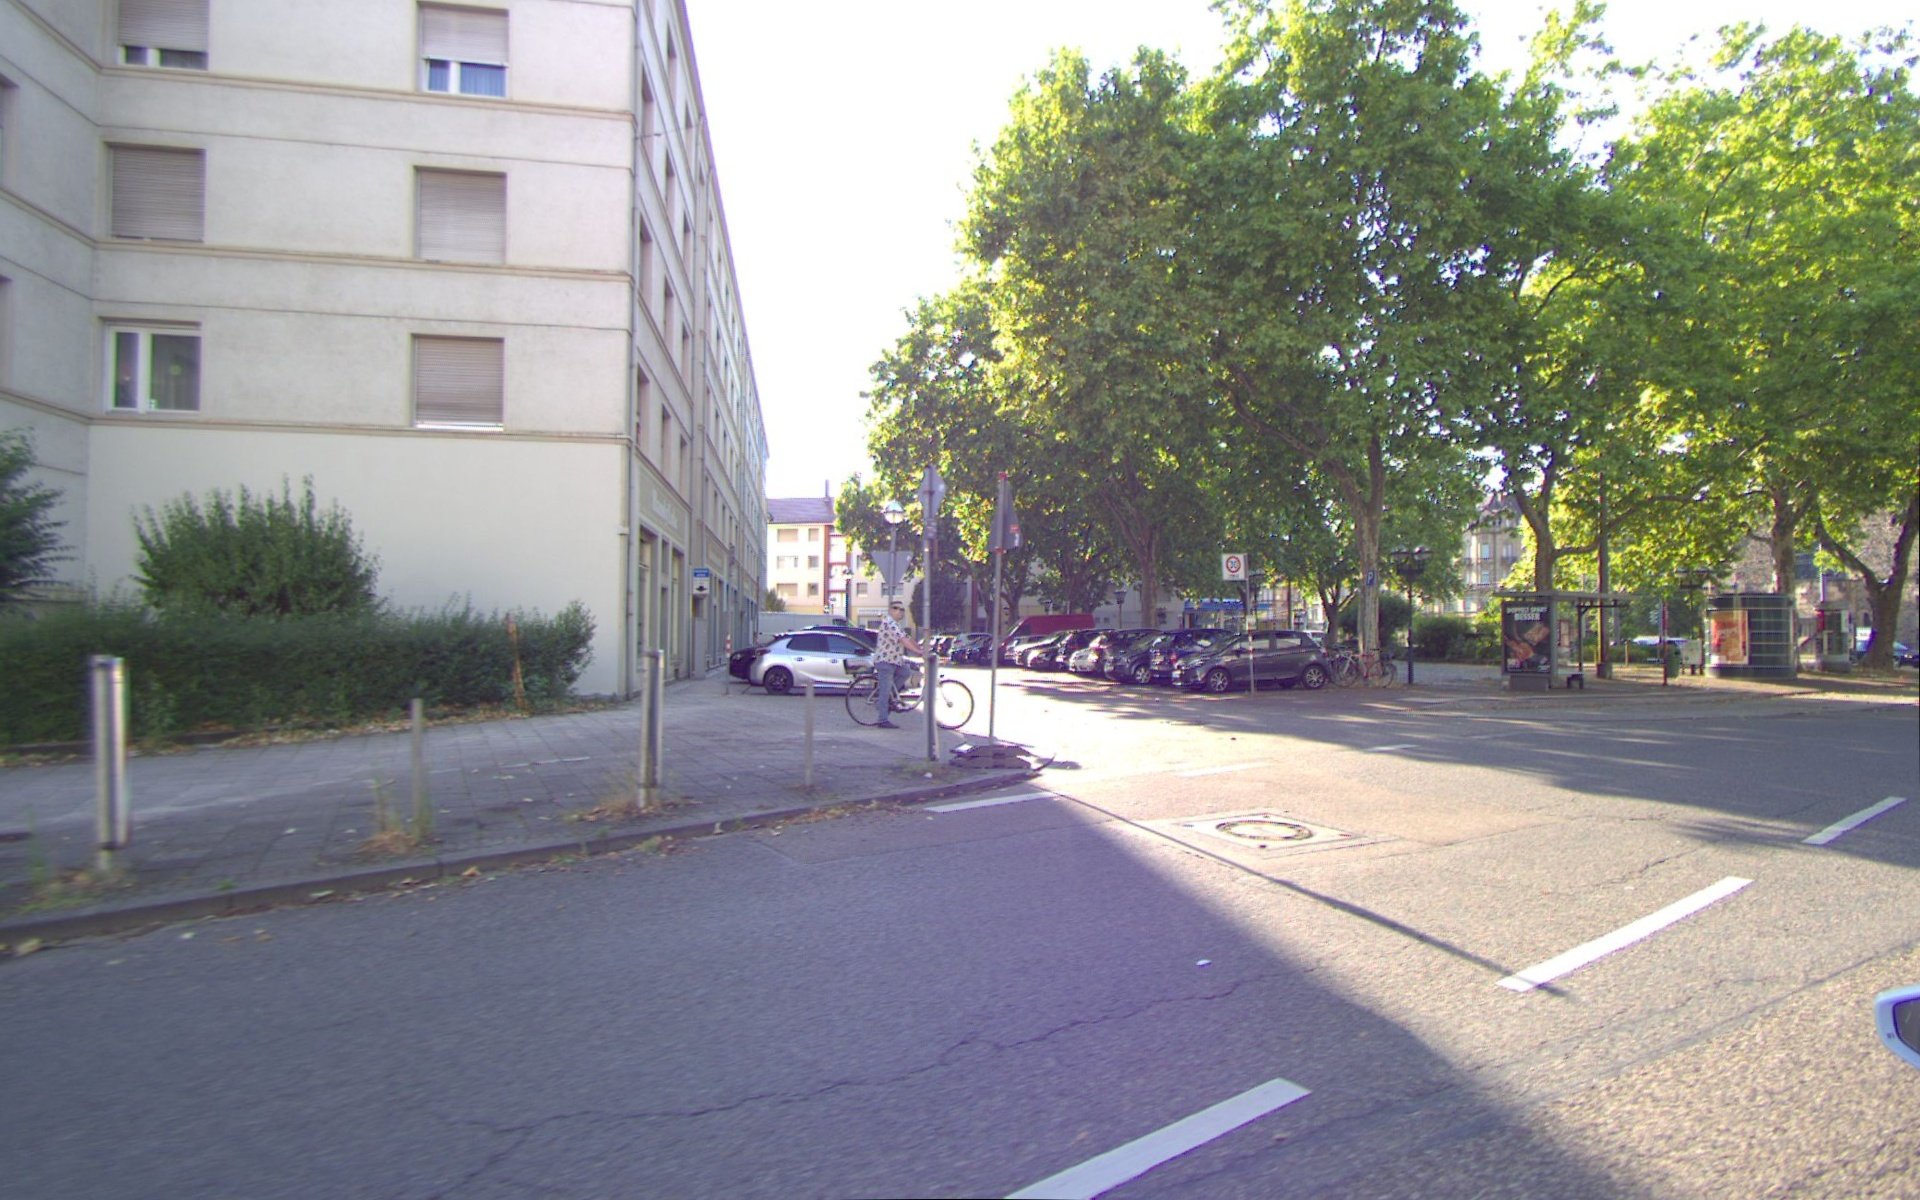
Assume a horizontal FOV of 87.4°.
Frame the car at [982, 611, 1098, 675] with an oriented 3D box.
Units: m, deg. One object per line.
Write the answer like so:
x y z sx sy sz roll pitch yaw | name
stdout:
3.963 2.165 49.897 5.462 2.947 1.653 2 -3 -9 | car

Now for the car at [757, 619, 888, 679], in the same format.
-4.443 1.597 32.314 3.967 1.749 1.651 3 -4 -14 | car

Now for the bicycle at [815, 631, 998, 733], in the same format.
-0.719 1.139 14.288 2.433 1.281 1.012 2 -1 5 | bicycle

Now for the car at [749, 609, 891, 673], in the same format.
-5.281 1.571 37.796 5.082 2.150 1.651 3 -3 -14 | car

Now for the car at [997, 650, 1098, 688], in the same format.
3.451 2.720 39.610 3.652 1.353 1.643 3 -1 -29 | car

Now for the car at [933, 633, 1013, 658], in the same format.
0.784 2.798 61.874 4.706 1.378 1.652 3 -4 -12 | car

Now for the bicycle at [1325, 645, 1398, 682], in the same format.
11.583 1.841 28.981 2.185 1.005 0.548 2 -1 -22 | bicycle

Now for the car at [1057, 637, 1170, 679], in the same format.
5.364 2.024 35.129 3.652 1.353 1.643 3 -1 -29 | car

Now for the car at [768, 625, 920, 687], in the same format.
-3.152 1.542 27.462 3.961 1.531 1.654 2 -3 -8 | car

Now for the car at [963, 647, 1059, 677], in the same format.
2.648 3.247 52.468 4.706 1.378 1.652 3 -4 -12 | car

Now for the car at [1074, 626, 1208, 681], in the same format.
5.886 1.739 32.683 3.947 1.639 1.868 3 -1 -26 | car

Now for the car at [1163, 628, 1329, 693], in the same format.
7.113 1.482 25.141 3.585 1.537 1.752 0 -2 -11 | car

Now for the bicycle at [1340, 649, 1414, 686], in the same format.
11.819 1.915 28.447 2.185 1.005 0.548 2 -1 -22 | bicycle

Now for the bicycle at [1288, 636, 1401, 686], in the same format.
9.589 1.522 24.947 3.253 1.160 0.715 3 -1 -30 | bicycle

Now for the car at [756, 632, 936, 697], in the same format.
-2.633 1.504 23.359 3.961 1.353 1.654 2 -3 -8 | car

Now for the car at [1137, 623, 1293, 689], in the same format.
7.155 1.520 28.188 3.946 1.639 1.868 -1 -1 -26 | car

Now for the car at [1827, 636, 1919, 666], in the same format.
48.840 2.676 53.421 1.624 1.415 3.931 2 -1 -11 | car

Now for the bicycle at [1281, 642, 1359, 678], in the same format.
11.122 1.842 31.101 2.171 1.005 0.552 2 -1 9 | bicycle

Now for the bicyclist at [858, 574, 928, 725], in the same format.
-0.942 0.690 14.335 0.781 2.040 0.978 2 -1 6 | bicyclist

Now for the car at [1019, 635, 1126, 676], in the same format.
4.159 2.055 37.080 3.652 1.353 1.643 3 -1 -29 | car

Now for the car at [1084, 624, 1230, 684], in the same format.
5.919 1.619 30.129 3.947 1.639 1.868 3 -1 -26 | car

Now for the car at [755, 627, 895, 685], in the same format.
-4.073 1.688 30.174 3.967 1.567 1.651 3 -4 -14 | car

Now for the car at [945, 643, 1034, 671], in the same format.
1.635 3.201 55.965 4.706 1.378 1.652 3 -4 -12 | car

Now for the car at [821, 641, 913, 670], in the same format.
-5.039 2.988 54.256 4.708 1.378 1.651 3 -4 -14 | car
